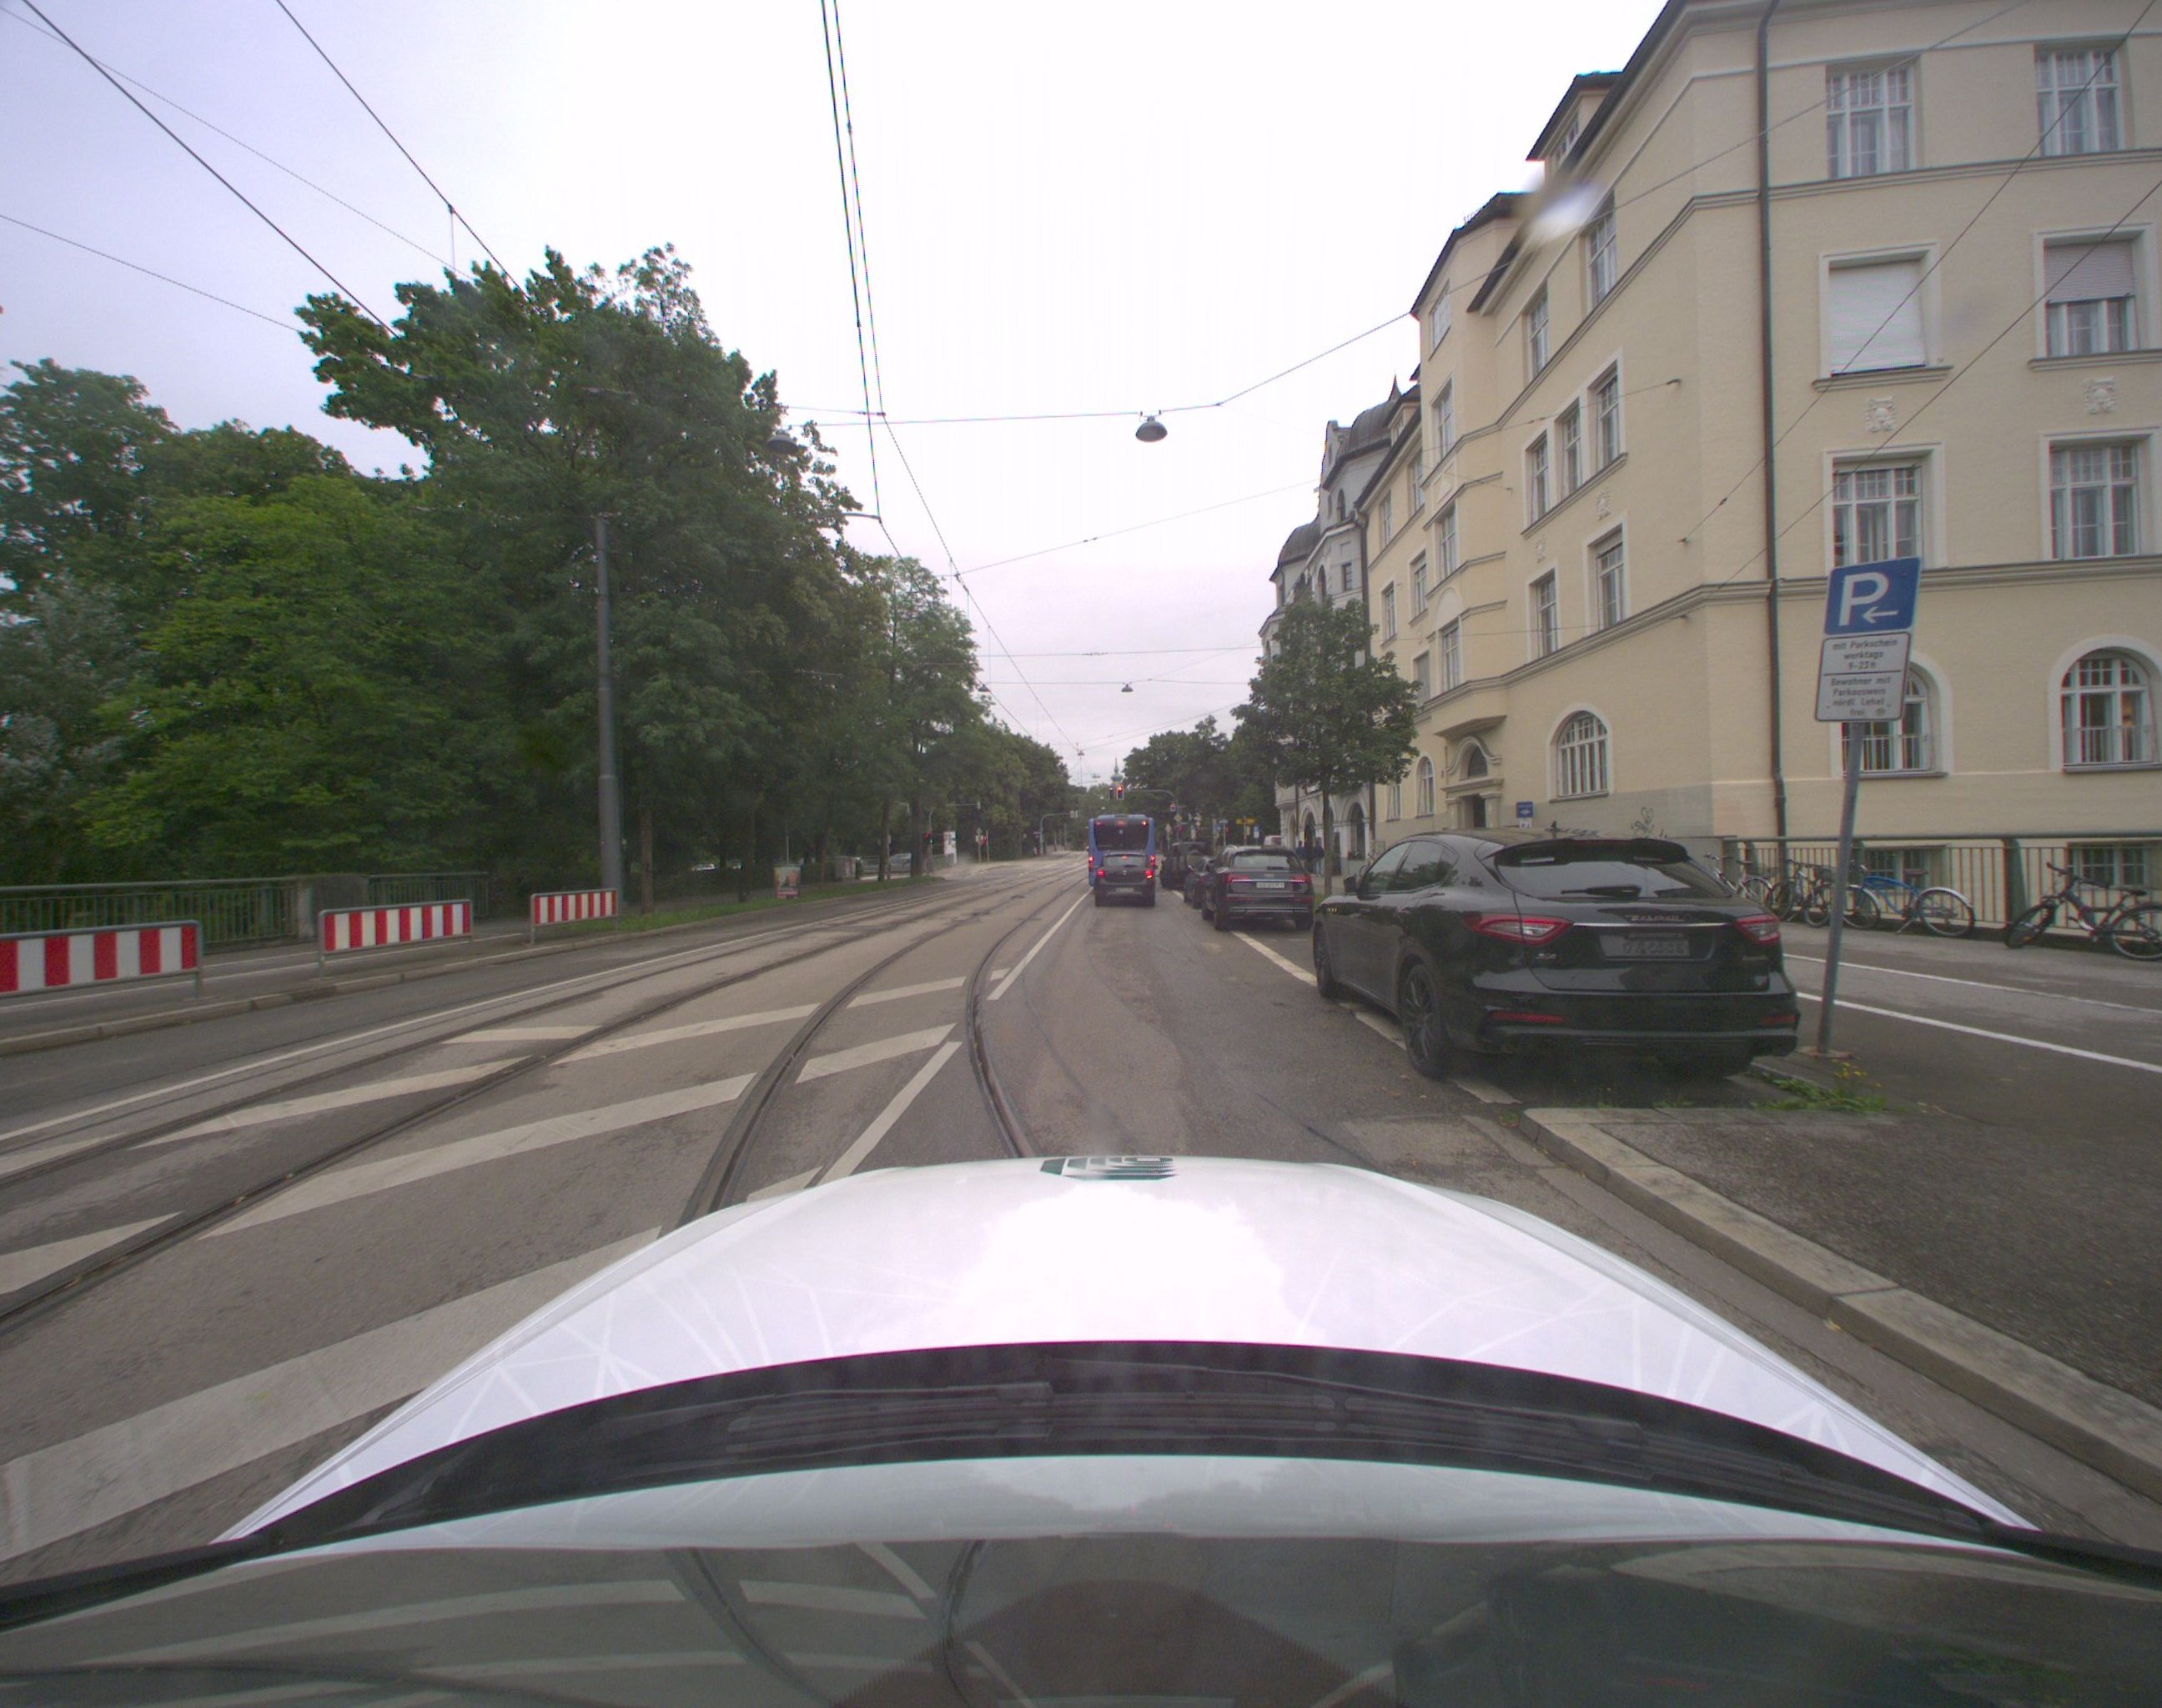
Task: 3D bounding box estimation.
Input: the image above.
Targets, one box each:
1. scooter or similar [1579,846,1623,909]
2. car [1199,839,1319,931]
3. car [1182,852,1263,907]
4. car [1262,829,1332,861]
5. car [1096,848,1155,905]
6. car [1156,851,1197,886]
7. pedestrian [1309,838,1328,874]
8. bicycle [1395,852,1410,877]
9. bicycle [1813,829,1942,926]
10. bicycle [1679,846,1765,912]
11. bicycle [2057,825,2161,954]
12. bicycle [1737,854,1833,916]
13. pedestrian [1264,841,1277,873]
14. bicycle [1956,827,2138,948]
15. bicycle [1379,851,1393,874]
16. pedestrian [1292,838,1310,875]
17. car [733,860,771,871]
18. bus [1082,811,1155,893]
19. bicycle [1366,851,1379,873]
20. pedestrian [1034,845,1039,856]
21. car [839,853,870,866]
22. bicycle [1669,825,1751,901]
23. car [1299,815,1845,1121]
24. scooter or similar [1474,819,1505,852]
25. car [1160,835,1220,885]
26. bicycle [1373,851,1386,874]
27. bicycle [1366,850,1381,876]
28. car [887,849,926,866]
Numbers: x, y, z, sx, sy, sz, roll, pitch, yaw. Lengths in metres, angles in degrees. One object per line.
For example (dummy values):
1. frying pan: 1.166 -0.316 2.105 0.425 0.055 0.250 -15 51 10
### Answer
1. scooter or similar: 11.165 0.481 17.503 0.260 1.312 1.143 0 0 3
2. car: 3.560 0.563 17.060 1.767 1.658 4.492 -1 0 4
3. car: 3.940 0.656 23.320 1.709 1.426 4.605 0 0 2
4. car: 18.096 -0.743 68.283 5.278 2.612 2.230 0 0 0
5. car: 1.294 0.619 24.119 1.594 1.556 3.527 0 0 2
6. car: 4.602 0.682 39.618 1.707 1.591 4.331 0 0 3
7. pedestrian: 11.760 0.108 40.337 0.702 1.732 0.843 0 0 3
8. bicycle: 12.019 0.379 30.439 0.284 0.930 0.887 0 0 4
9. bicycle: 11.108 0.309 11.417 0.281 1.282 1.406 0 0 -8
10. bicycle: 11.293 0.415 14.396 0.286 1.106 1.441 -1 0 -4
11. bicycle: 10.876 0.352 8.162 0.282 1.282 1.402 0 0 -16
12. bicycle: 11.264 0.496 13.064 0.249 0.935 1.137 -5 0 -18
13. pedestrian: 12.084 0.211 51.923 0.670 2.013 0.717 0 0 4
14. bicycle: 11.030 0.354 9.363 0.281 1.282 1.406 0 0 -8
15. bicycle: 12.260 0.328 32.739 0.304 0.930 0.887 0 0 5
16. pedestrian: 10.920 0.133 40.425 0.702 1.816 0.870 0 0 3
17. car: -36.799 1.249 91.185 3.719 1.185 1.249 0 0 -3
18. bus: 1.476 -0.069 33.553 2.669 2.997 6.962 0 0 1
19. bicycle: 12.393 0.344 34.634 0.258 0.930 0.887 0 0 4
20. pedestrian: -6.010 -0.487 109.963 0.529 1.501 0.589 0 0 7
21. car: -25.535 0.591 91.763 3.102 1.452 1.249 0 0 -2
22. bicycle: 11.408 0.161 14.827 0.330 1.312 1.538 0 0 2
23. car: 3.218 0.577 6.659 1.893 1.610 4.670 0 1 3
24. scooter or similar: 11.846 -0.540 23.625 0.658 0.946 0.547 0 0 4
25. car: 4.430 0.219 33.802 1.907 1.905 4.808 0 0 1
26. bicycle: 12.344 0.358 33.698 0.289 0.930 0.887 0 0 4
27. bicycle: 11.890 0.360 33.127 0.241 1.039 1.224 0 0 3
28. car: -19.624 0.355 91.751 4.014 1.887 1.488 0 0 -4
